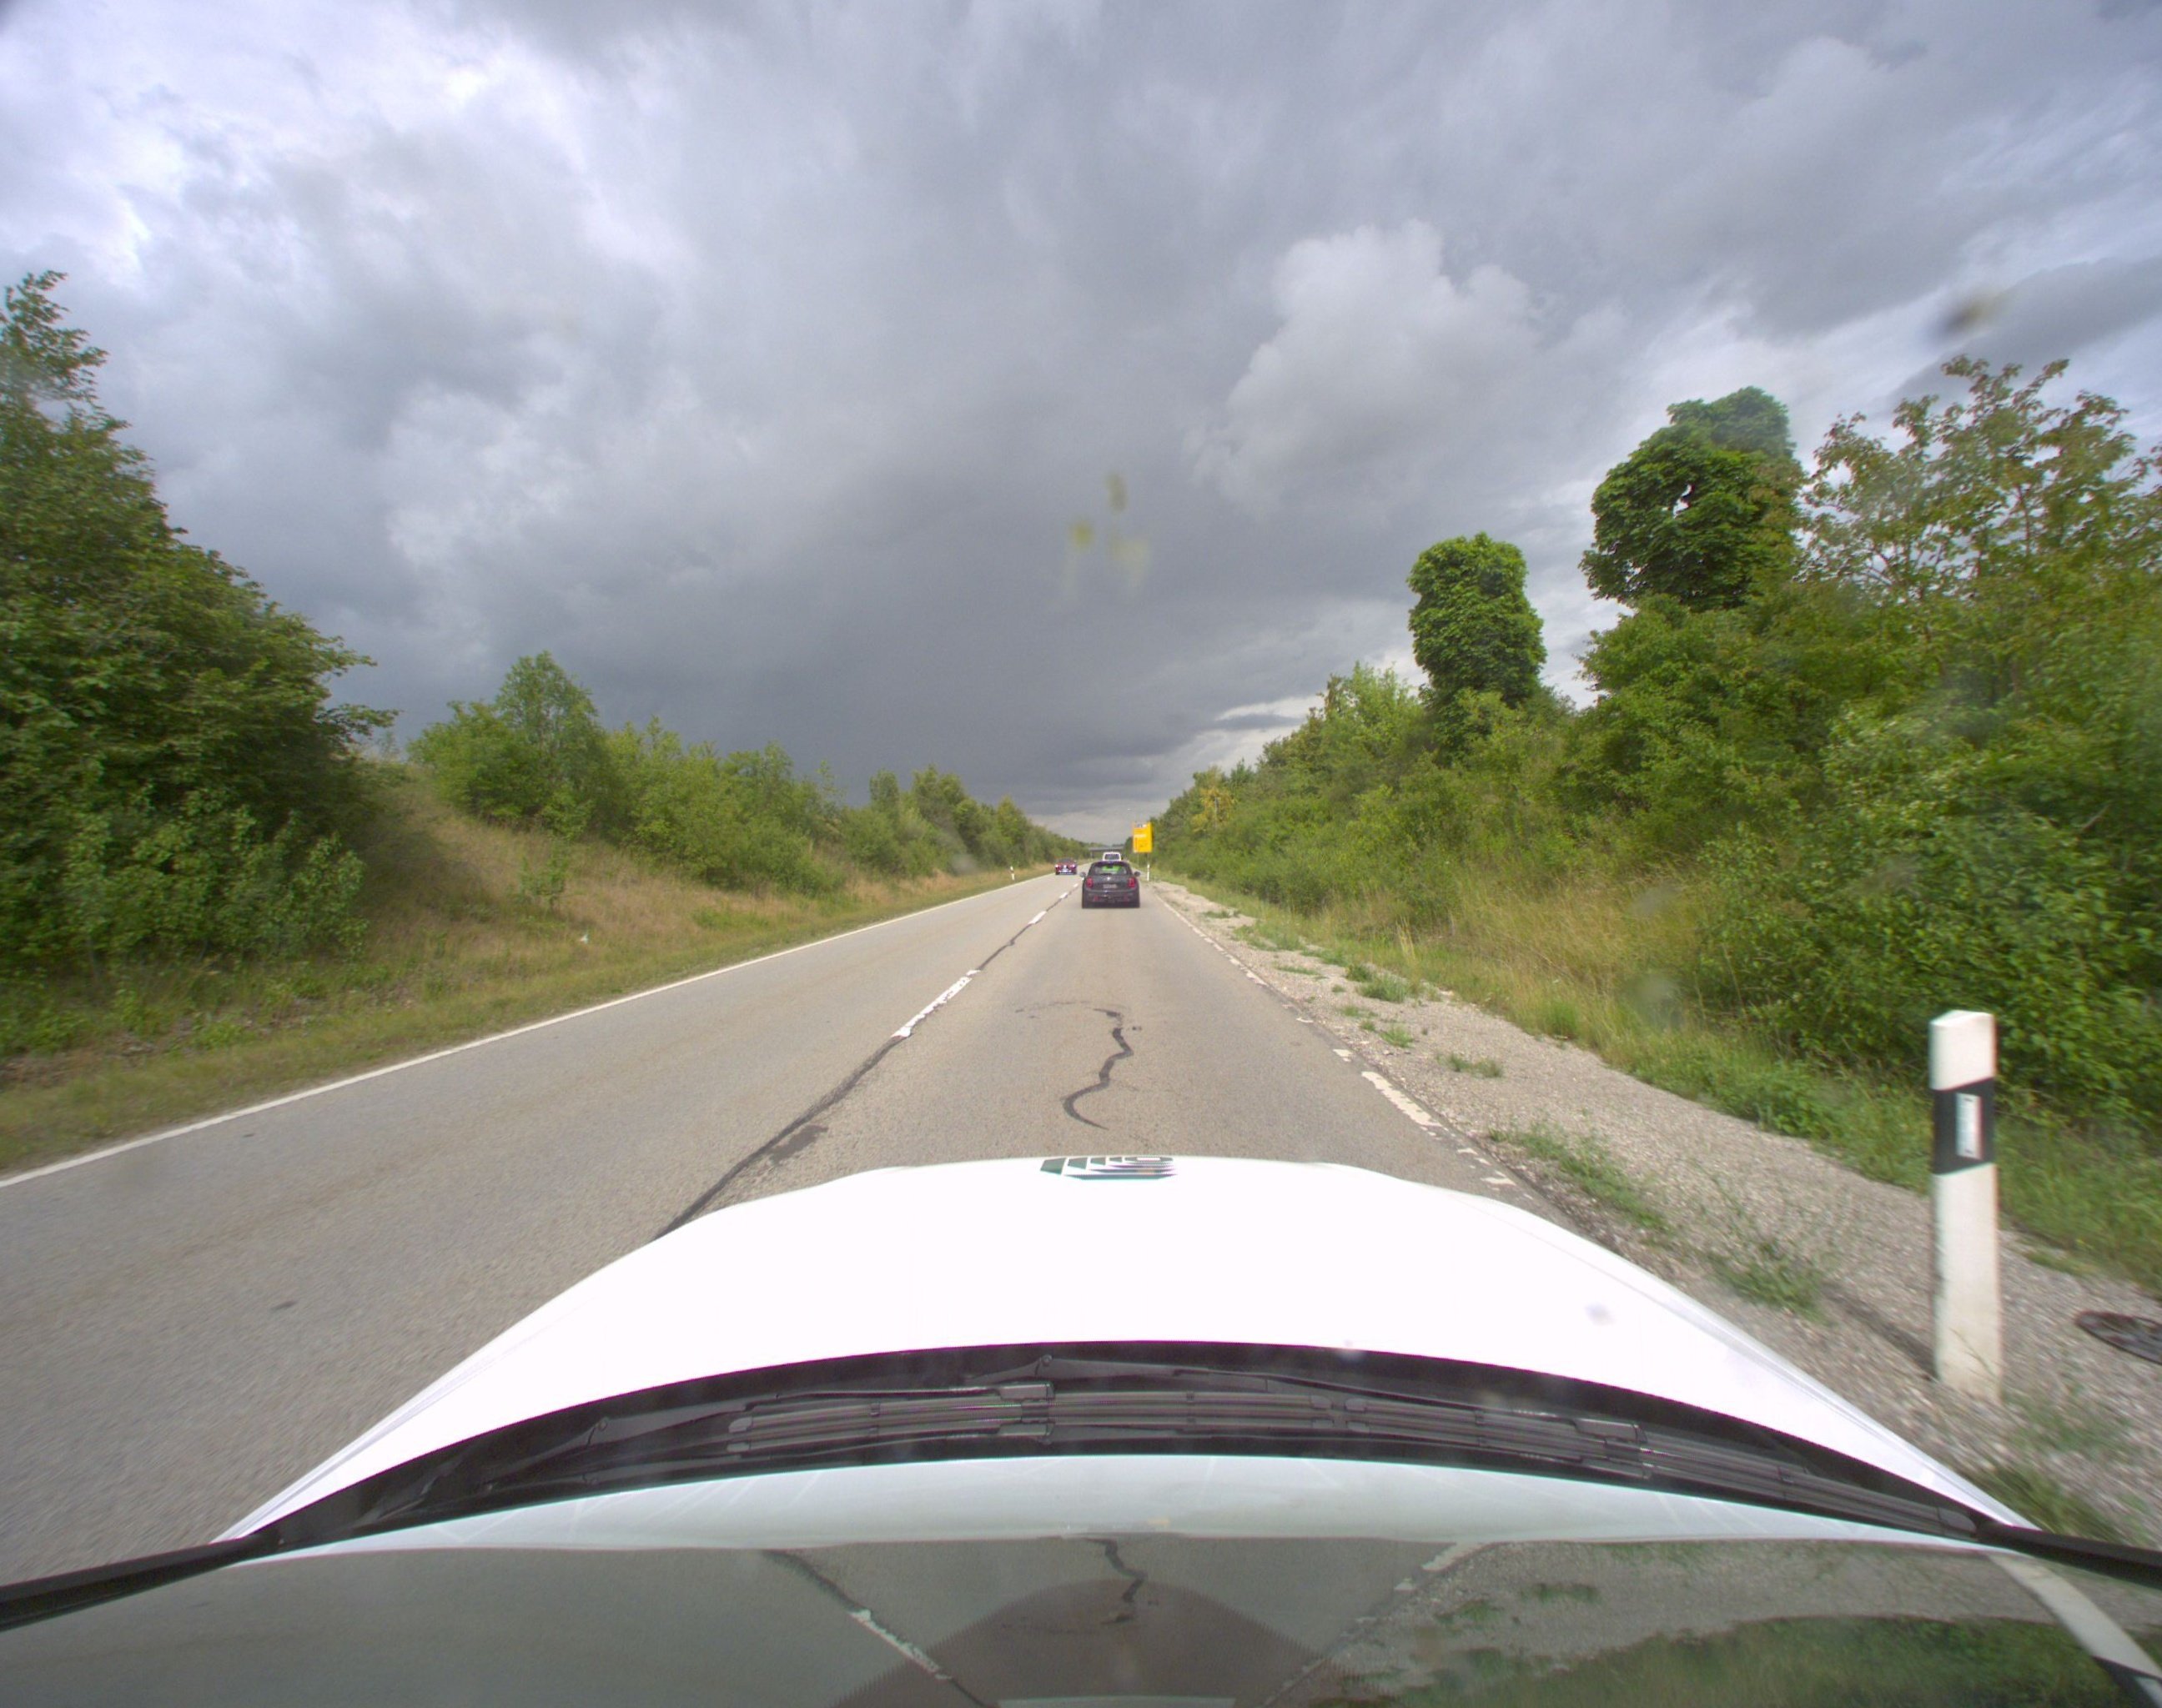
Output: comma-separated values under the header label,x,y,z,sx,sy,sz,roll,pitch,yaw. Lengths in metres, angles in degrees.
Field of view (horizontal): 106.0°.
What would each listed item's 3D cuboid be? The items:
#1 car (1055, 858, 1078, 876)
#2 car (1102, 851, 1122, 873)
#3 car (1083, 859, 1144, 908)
label,x,y,z,sx,sy,sz,roll,pitch,yaw
car,-1.296,1.140,73.307,1.822,1.465,4.413,-1,0,2
car,2.940,0.764,77.172,1.812,2.055,4.001,0,-1,2
car,0.999,0.875,25.633,1.750,1.427,4.001,0,-1,2
